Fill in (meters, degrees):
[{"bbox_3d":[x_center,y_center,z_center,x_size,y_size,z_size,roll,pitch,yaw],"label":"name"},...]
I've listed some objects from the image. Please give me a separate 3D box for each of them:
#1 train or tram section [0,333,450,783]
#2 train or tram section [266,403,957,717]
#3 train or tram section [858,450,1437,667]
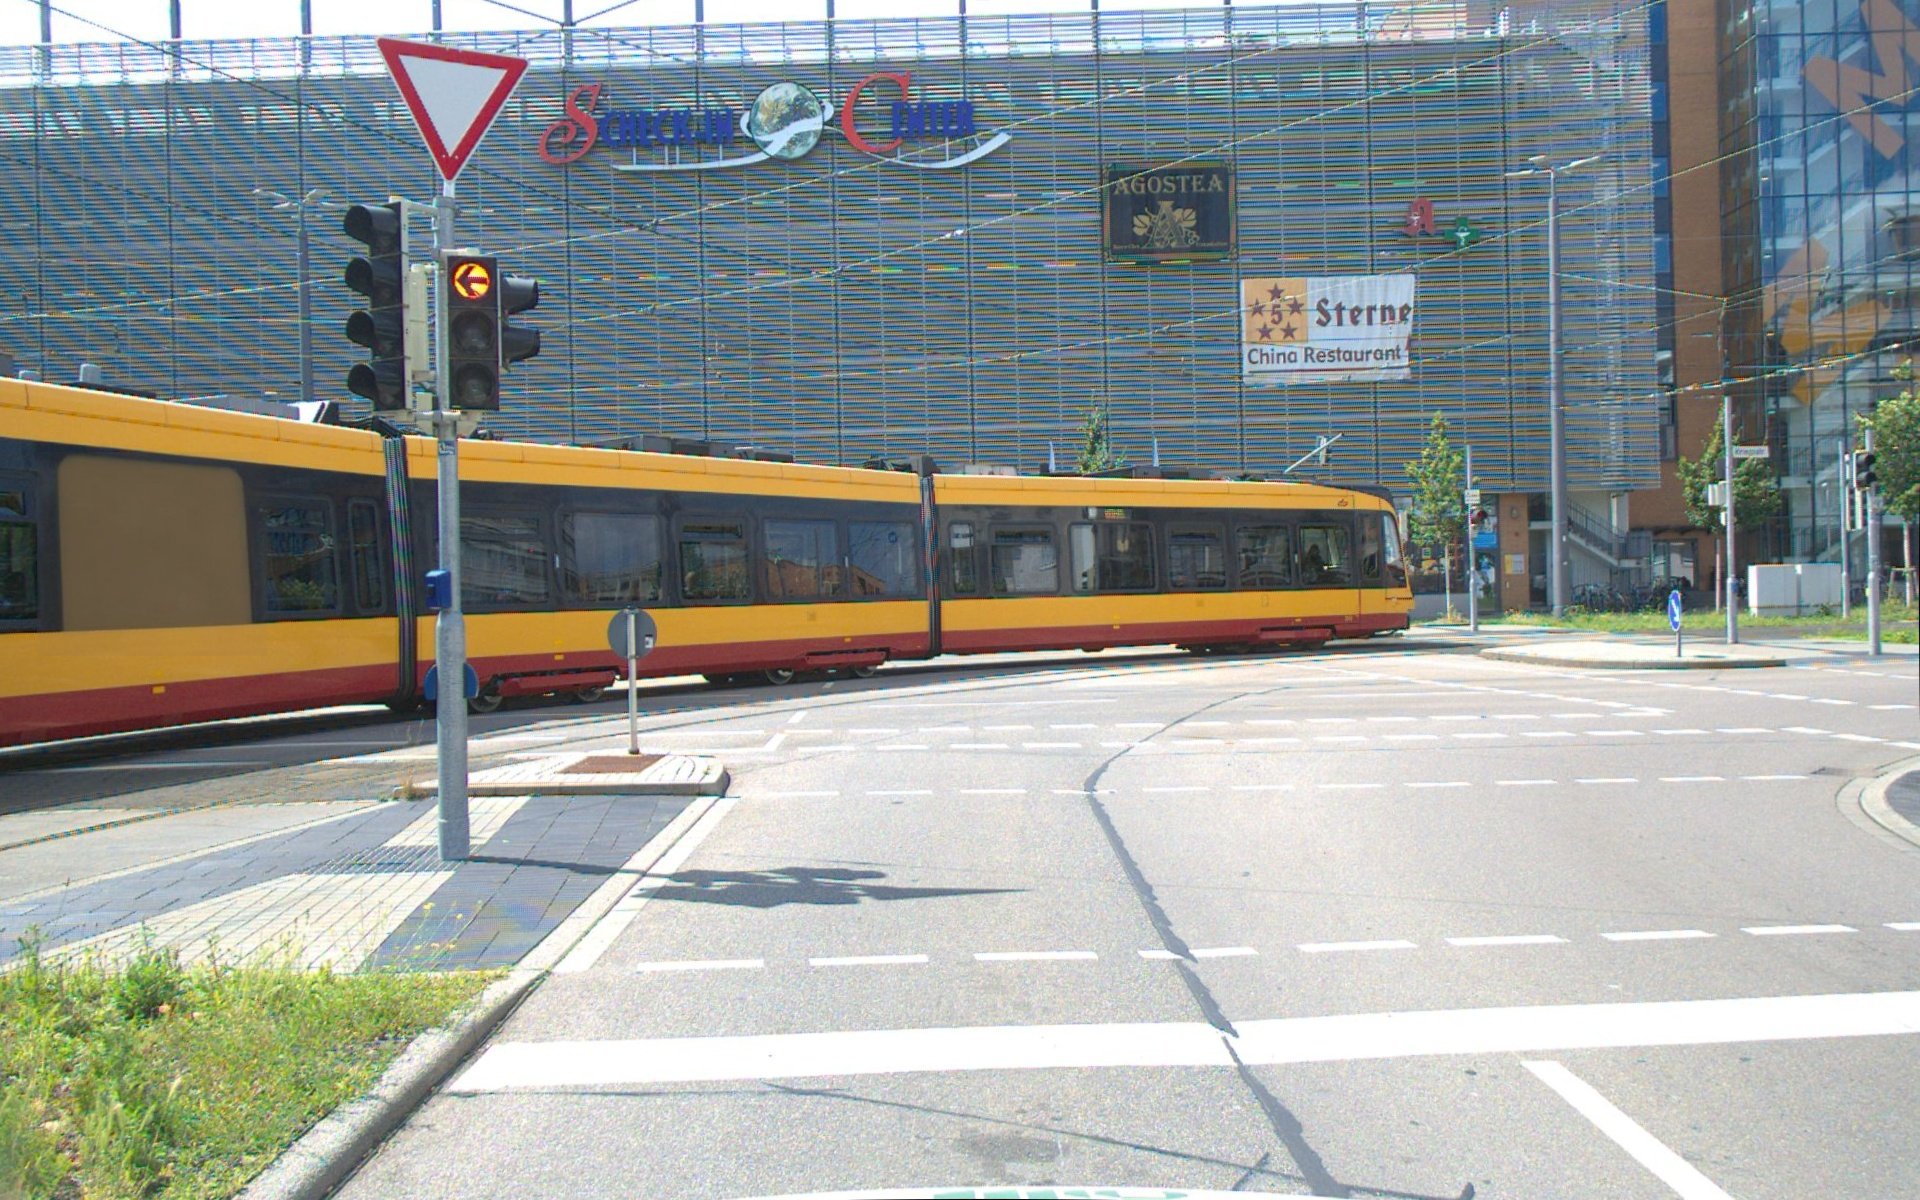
[{"bbox_3d":[-9.384,-0.331,13.682,3.148,3.662,13.511,0,1,15],"label":"train or tram section"},{"bbox_3d":[-4.448,-0.548,24.652,3.004,3.666,10.952,0,1,36],"label":"train or tram section"},{"bbox_3d":[4.105,-0.809,32.818,12.483,3.684,3.029,-1,1,-34],"label":"train or tram section"}]
